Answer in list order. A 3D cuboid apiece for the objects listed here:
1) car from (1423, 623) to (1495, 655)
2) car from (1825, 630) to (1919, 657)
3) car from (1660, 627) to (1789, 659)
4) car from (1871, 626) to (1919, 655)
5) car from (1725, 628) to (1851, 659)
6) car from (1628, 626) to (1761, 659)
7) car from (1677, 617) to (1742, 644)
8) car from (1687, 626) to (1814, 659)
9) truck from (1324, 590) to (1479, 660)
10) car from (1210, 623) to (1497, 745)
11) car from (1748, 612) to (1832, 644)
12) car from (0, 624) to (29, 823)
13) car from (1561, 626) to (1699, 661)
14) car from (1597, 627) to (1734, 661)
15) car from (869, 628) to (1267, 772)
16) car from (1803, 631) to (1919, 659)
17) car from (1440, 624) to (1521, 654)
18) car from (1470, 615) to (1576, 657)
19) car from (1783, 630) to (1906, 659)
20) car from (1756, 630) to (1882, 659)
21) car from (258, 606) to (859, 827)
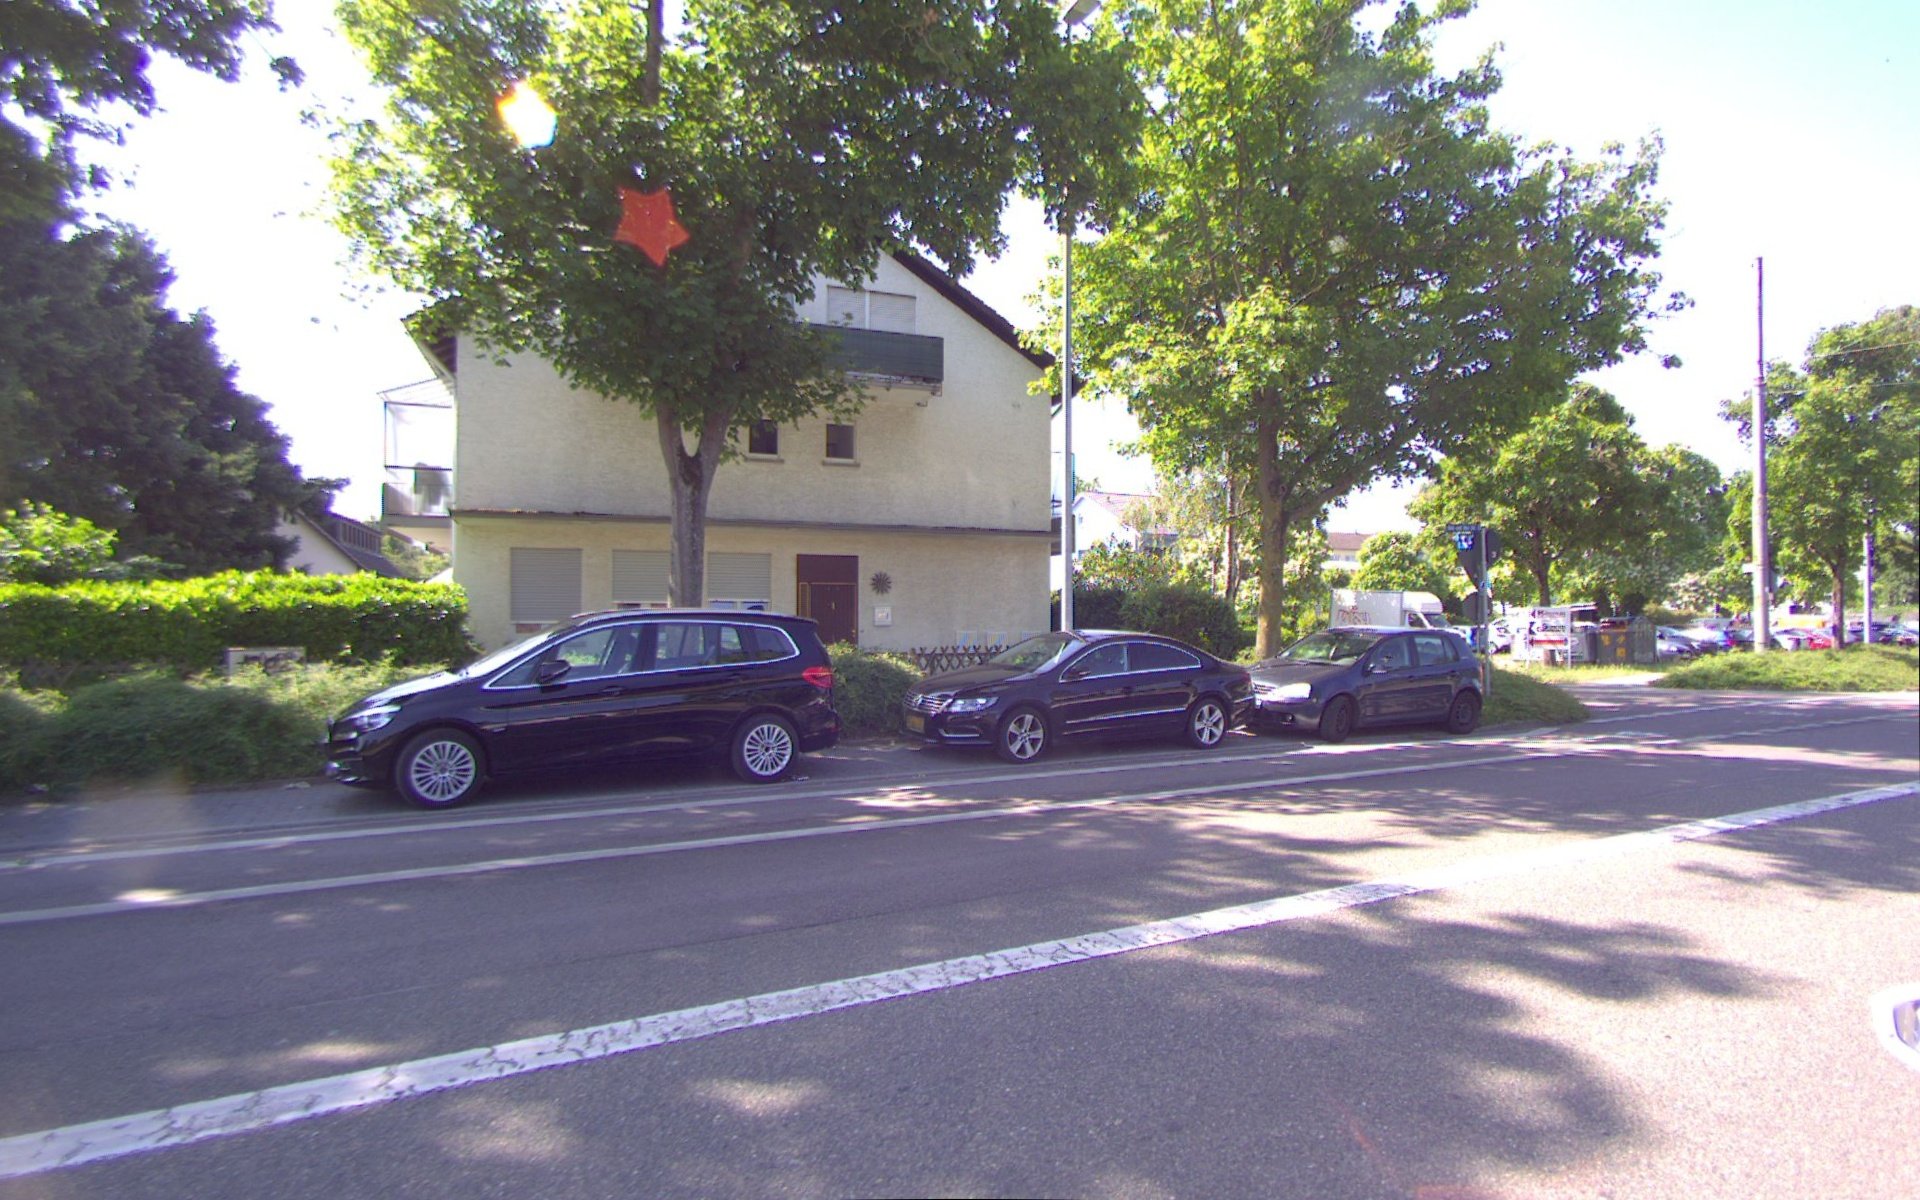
[{"bbox_3d":[26.261,2.051,52.954,1.536,1.452,3.124,0,2,-24],"label":"car"},{"bbox_3d":[44.882,2.095,48.796,1.748,1.241,3.975,1,-1,-26],"label":"car"},{"bbox_3d":[31.949,1.782,42.116,1.748,1.241,3.975,1,-1,-26],"label":"car"},{"bbox_3d":[49.345,2.041,51.214,1.748,1.463,3.975,1,-1,-26],"label":"car"},{"bbox_3d":[36.567,1.906,44.469,1.748,1.281,3.975,1,-1,-26],"label":"car"},{"bbox_3d":[29.360,1.677,40.277,1.748,1.241,3.975,1,-1,-26],"label":"car"},{"bbox_3d":[53.170,2.147,71.328,1.534,1.901,3.407,1,-1,-30],"label":"car"},{"bbox_3d":[34.078,1.803,43.393,1.748,1.368,3.975,1,-1,-26],"label":"car"},{"bbox_3d":[21.904,1.151,50.278,2.205,3.059,7.106,1,2,-30],"label":"truck"},{"bbox_3d":[5.654,1.113,14.360,3.954,1.470,1.635,1,1,-28],"label":"car"},{"bbox_3d":[58.850,1.955,71.283,1.980,2.040,4.230,1,1,-34],"label":"car"},{"bbox_3d":[-9.142,0.896,6.071,4.856,1.485,1.830,1,-1,-33],"label":"car"},{"bbox_3d":[24.931,1.582,37.520,1.750,1.241,3.969,1,-1,-30],"label":"car"},{"bbox_3d":[27.092,1.652,38.673,1.750,1.241,3.969,1,-1,-30],"label":"car"},{"bbox_3d":[1.392,1.075,12.194,4.724,1.398,1.682,1,1,-29],"label":"car"},{"bbox_3d":[43.001,2.096,47.876,1.748,1.241,3.975,1,-1,-26],"label":"car"},{"bbox_3d":[28.224,2.091,54.599,1.536,1.374,3.761,0,2,-24],"label":"car"},{"bbox_3d":[30.788,1.941,55.096,1.979,2.040,4.665,1,1,-33],"label":"car"},{"bbox_3d":[41.103,2.050,46.768,1.748,1.241,3.975,1,-1,-26],"label":"car"},{"bbox_3d":[38.797,1.974,45.458,1.748,1.241,3.975,1,-1,-26],"label":"car"},{"bbox_3d":[-3.511,0.896,9.405,4.834,1.627,1.754,1,0,-29],"label":"car"}]
